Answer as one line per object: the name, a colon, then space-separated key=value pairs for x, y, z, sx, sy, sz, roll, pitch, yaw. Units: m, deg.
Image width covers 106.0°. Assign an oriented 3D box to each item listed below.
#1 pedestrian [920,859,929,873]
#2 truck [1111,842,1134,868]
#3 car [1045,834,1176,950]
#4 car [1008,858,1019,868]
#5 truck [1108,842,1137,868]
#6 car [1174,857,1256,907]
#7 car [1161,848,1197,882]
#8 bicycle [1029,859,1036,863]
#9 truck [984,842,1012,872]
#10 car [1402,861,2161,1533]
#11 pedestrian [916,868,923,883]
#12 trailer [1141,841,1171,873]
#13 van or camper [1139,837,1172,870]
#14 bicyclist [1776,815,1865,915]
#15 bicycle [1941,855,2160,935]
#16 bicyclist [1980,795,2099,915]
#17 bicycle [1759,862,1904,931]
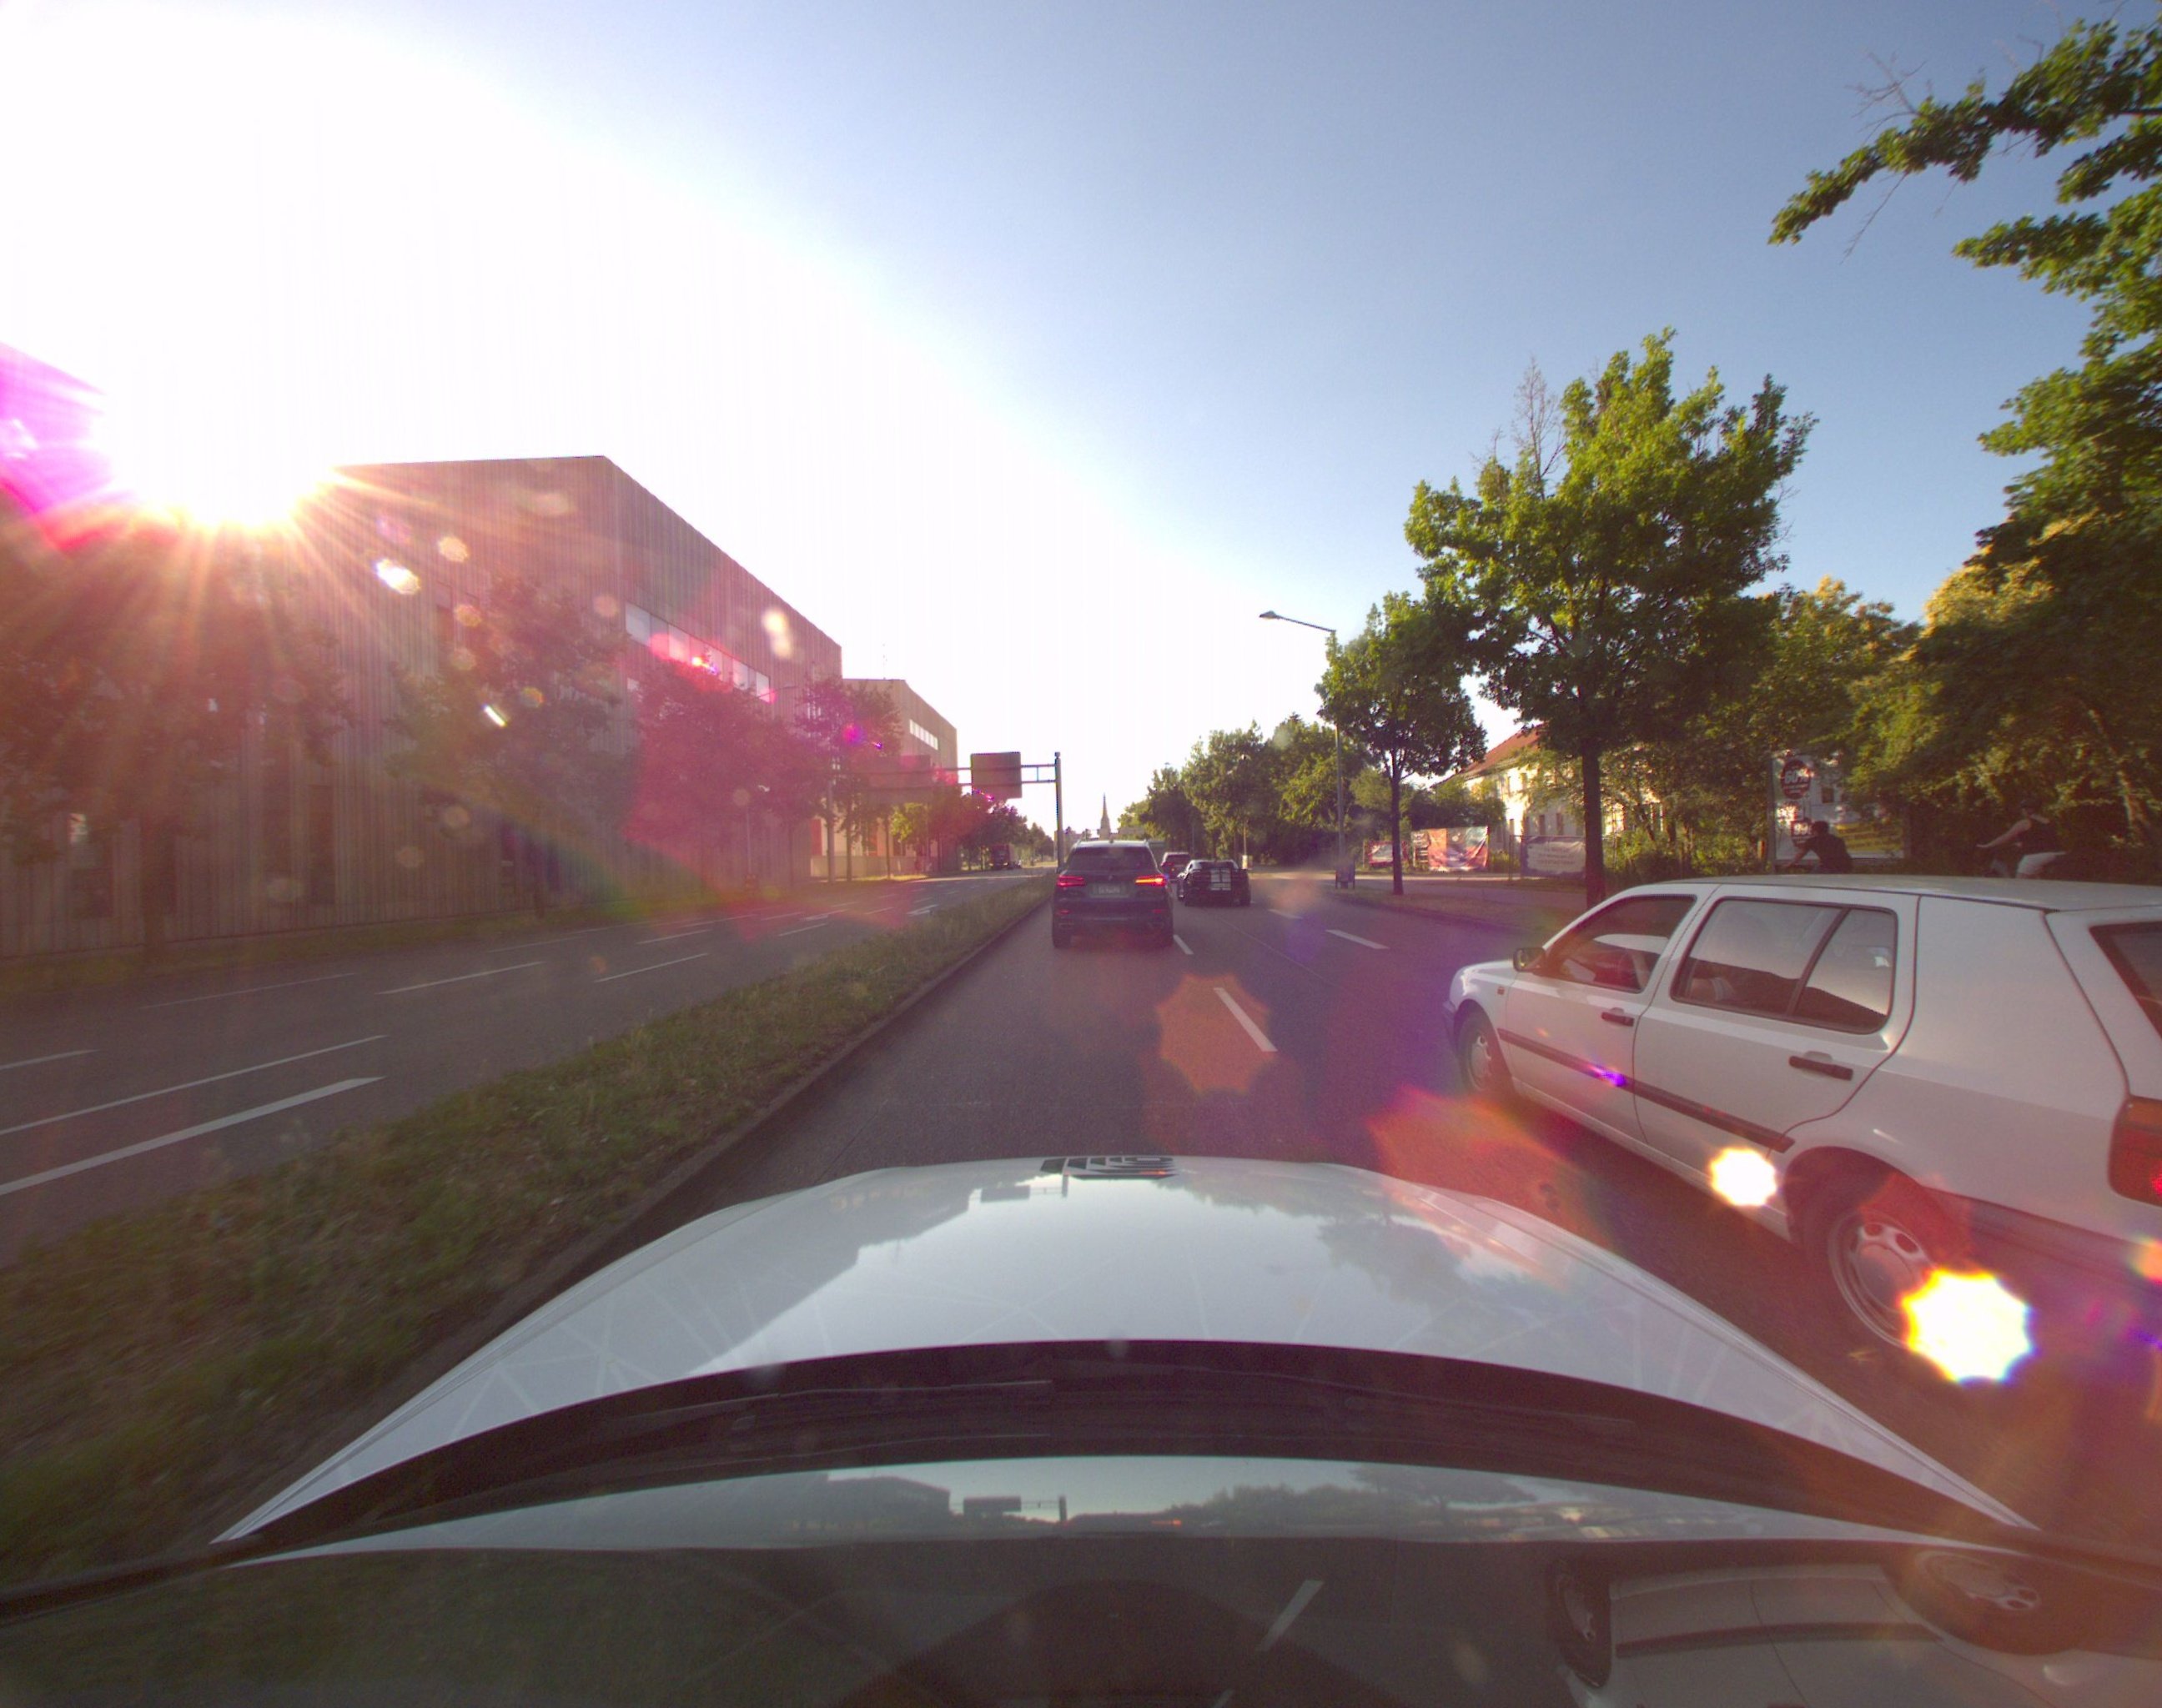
pedestrian: x=-18.544 y=1.365 z=96.277 sx=0.773 sy=1.601 sz=0.910 roll=-2 pitch=0 yaw=2
truck: x=4.415 y=0.165 z=87.521 sx=2.212 sy=2.651 sz=4.774 roll=-2 pitch=0 yaw=1
car: x=0.557 y=0.611 z=14.655 sx=1.947 sy=1.727 sz=4.702 roll=-1 pitch=-1 yaw=3
car: x=-10.991 y=1.484 z=132.480 sx=1.592 sy=1.512 sz=3.863 roll=-2 pitch=0 yaw=-3
truck: x=4.419 y=0.116 z=88.096 sx=2.573 sy=2.558 sz=6.248 roll=-2 pitch=0 yaw=-1
car: x=3.943 y=0.786 z=24.656 sx=1.847 sy=1.338 sz=4.626 roll=-1 pitch=0 yaw=2
car: x=5.170 y=0.555 z=43.167 sx=1.739 sy=1.621 sz=3.826 roll=-2 pitch=0 yaw=5
bicycle: x=-13.130 y=1.945 z=219.693 sx=1.893 sy=1.020 sz=0.506 roll=-1 pitch=-1 yaw=16
truck: x=-11.104 y=0.384 z=109.911 sx=2.990 sy=3.811 sz=10.081 roll=-2 pitch=0 yaw=-2
car: x=3.056 y=0.751 z=3.761 sx=1.605 sy=1.398 sz=4.038 roll=0 pitch=0 yaw=1
pedestrian: x=-19.233 y=2.553 z=97.006 sx=0.630 sy=1.841 sz=0.717 roll=-2 pitch=-1 yaw=2
trailer: x=5.818 y=0.261 z=63.634 sx=2.082 sy=2.400 sz=3.502 roll=0 pitch=-1 yaw=2
van or camper: x=6.308 y=-0.009 z=69.653 sx=2.277 sy=2.629 sz=6.583 roll=-1 pitch=0 yaw=0
bicyclist: x=11.562 y=0.168 z=12.758 sx=0.610 sy=1.501 sz=0.849 roll=-2 pitch=0 yaw=3
bicycle: x=13.178 y=0.515 z=11.188 sx=0.614 sy=0.973 sz=2.060 roll=-2 pitch=0 yaw=3
bicyclist: x=13.162 y=0.011 z=11.215 sx=0.600 sy=1.578 sz=0.849 roll=-2 pitch=0 yaw=3
bicycle: x=11.568 y=0.620 z=12.642 sx=0.614 sy=0.973 sz=1.823 roll=-2 pitch=0 yaw=3
